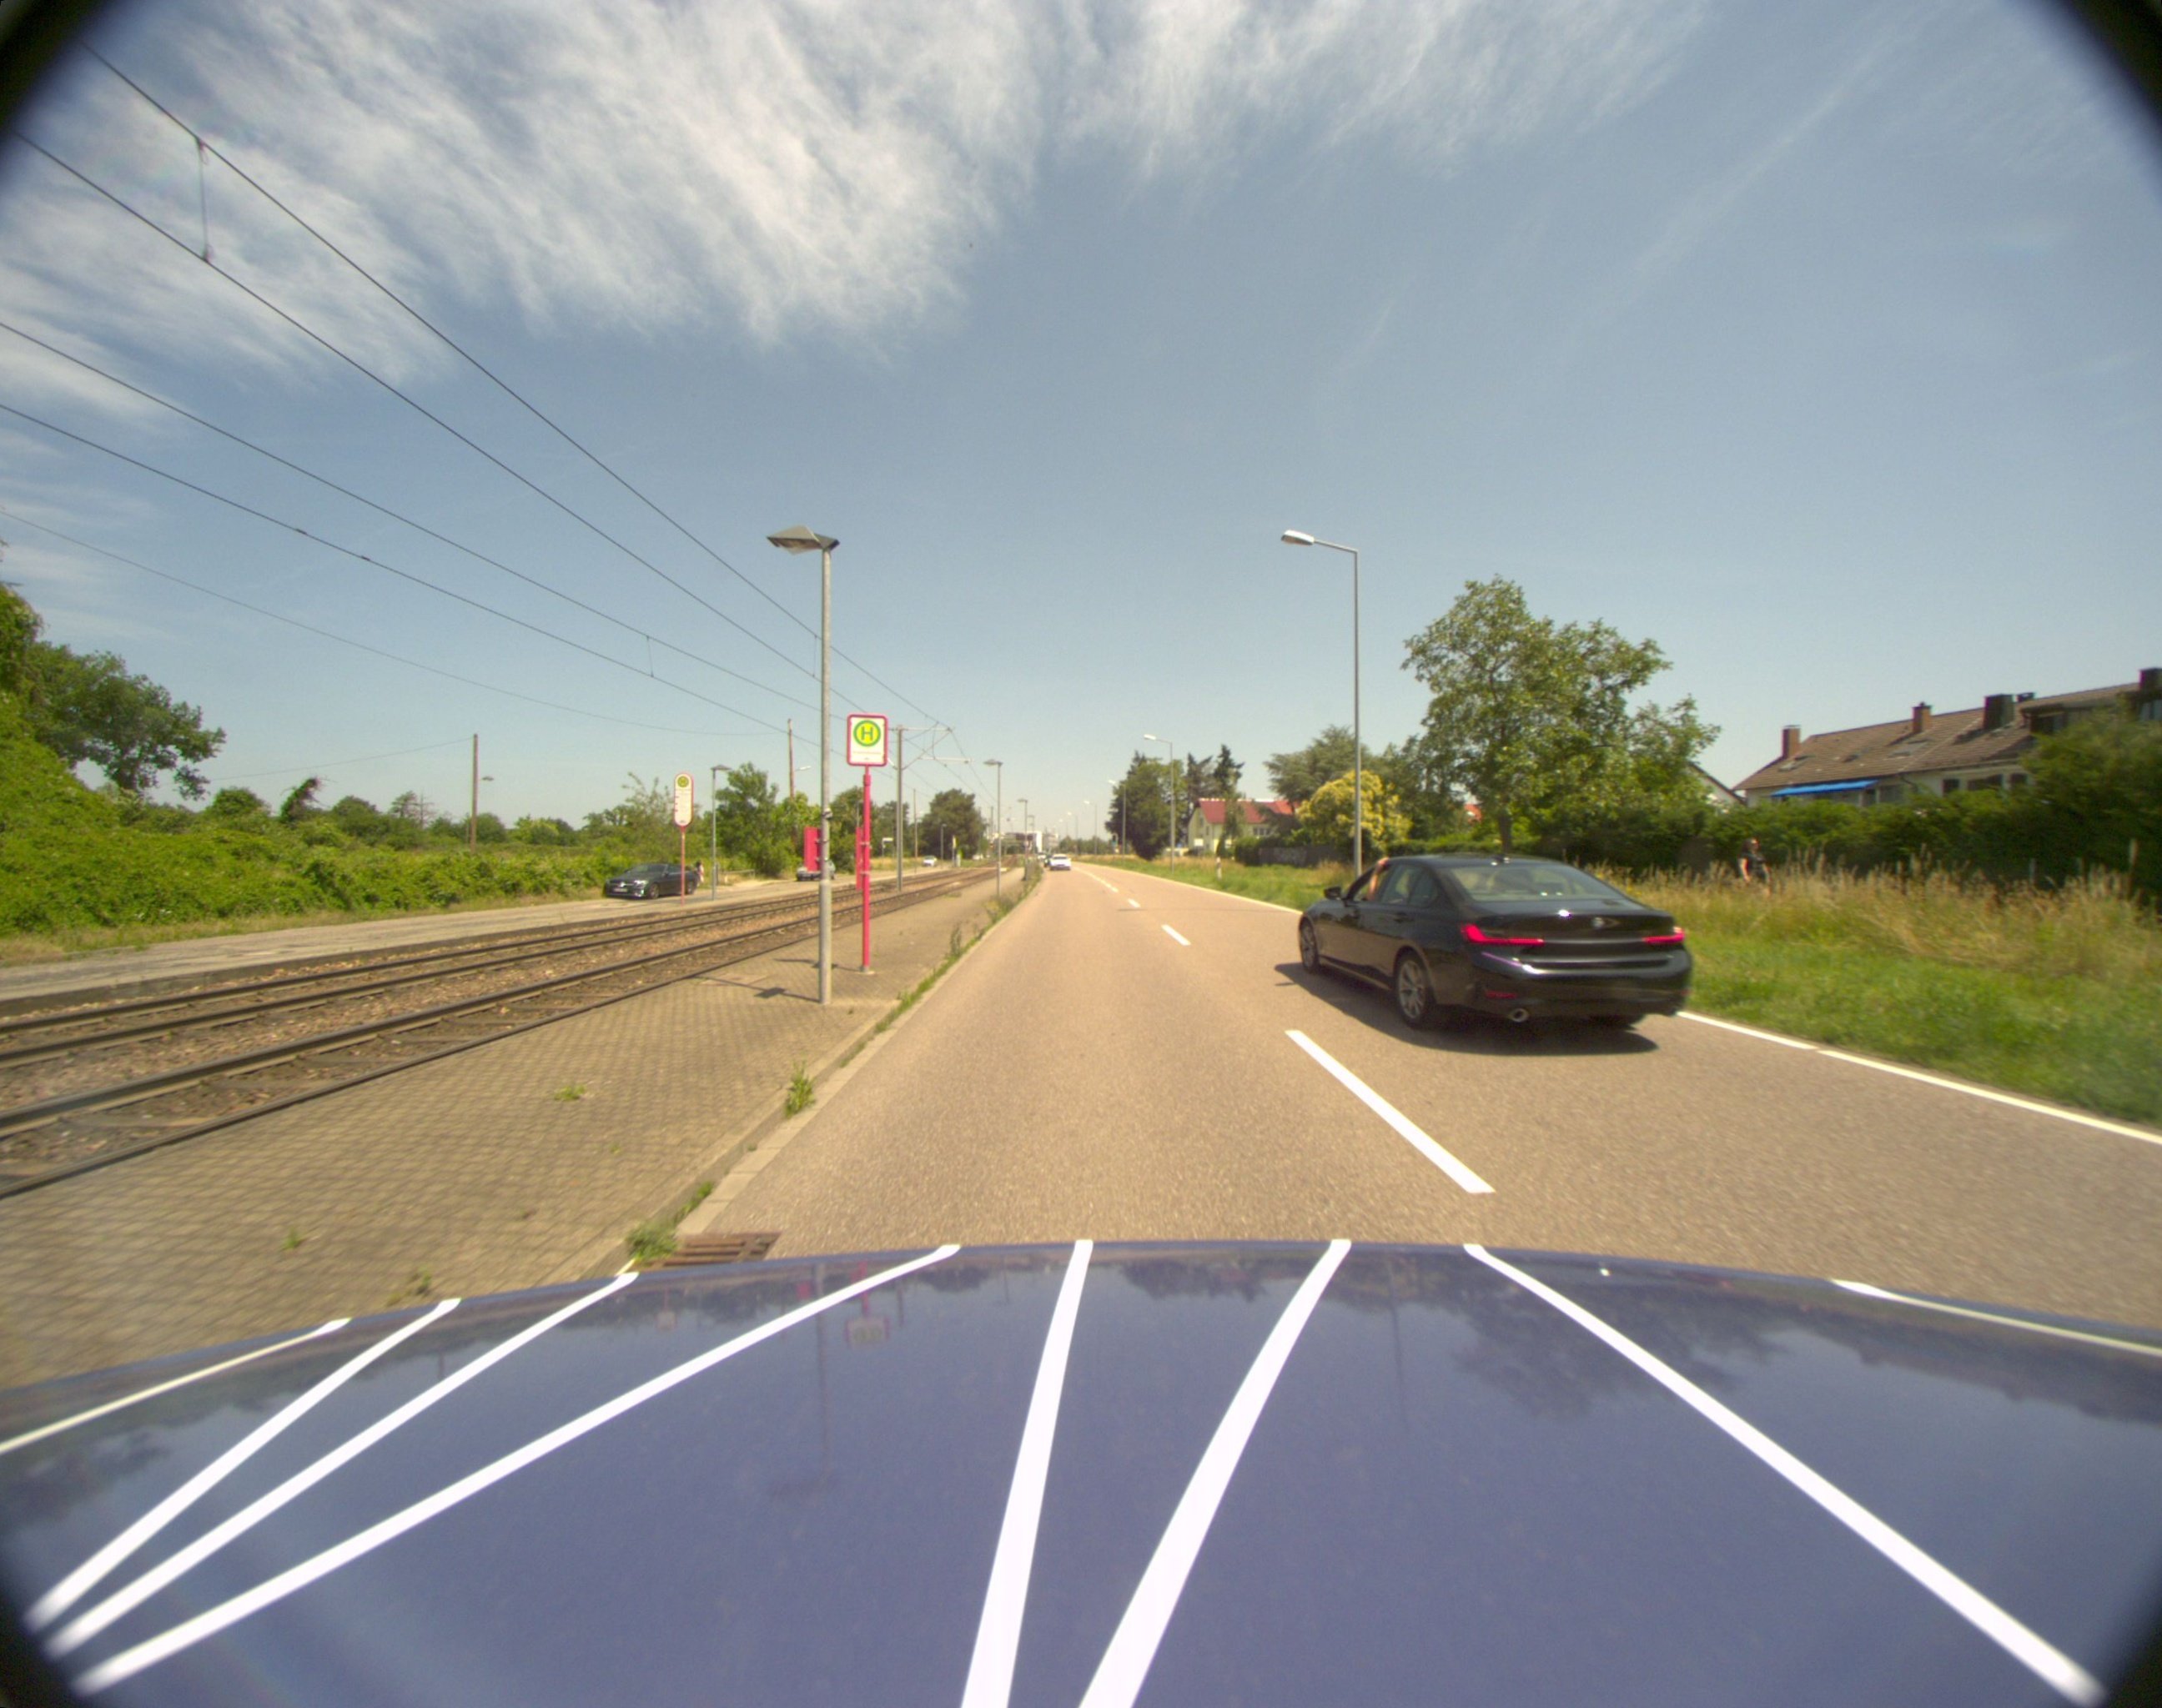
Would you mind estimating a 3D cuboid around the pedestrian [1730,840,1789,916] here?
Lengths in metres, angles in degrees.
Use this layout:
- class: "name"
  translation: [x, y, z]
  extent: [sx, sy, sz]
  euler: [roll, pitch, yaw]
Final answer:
- class: "pedestrian"
  translation: [13.631, 0.472, 15.280]
  extent: [0.610, 1.469, 0.633]
  euler: [-1, 1, 0]

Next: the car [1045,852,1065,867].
- class: "car"
  translation: [-2.894, 0.635, 86.106]
  extent: [1.998, 1.576, 3.999]
  euler: [-1, 1, 1]

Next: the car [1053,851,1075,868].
- class: "car"
  translation: [-1.569, 0.455, 70.174]
  extent: [1.856, 1.447, 3.706]
  euler: [-1, 1, 1]

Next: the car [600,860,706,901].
- class: "car"
  translation: [-17.409, 1.023, 31.223]
  extent: [1.624, 1.414, 4.871]
  euler: [-1, 1, -1]

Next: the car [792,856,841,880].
- class: "car"
  translation: [-17.298, 0.897, 49.916]
  extent: [1.944, 1.414, 3.999]
  euler: [-1, 1, -2]

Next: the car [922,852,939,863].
- class: "car"
  translation: [-20.874, 0.436, 105.406]
  extent: [1.717, 1.480, 3.999]
  euler: [-1, 1, -3]

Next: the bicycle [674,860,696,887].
- class: "bicycle"
  translation: [-19.834, 0.961, 38.049]
  extent: [0.705, 1.262, 1.676]
  euler: [-1, 1, -36]

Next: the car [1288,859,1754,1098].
- class: "car"
  translation: [3.429, 0.805, 7.166]
  extent: [1.710, 1.396, 4.707]
  euler: [-1, 1, 1]

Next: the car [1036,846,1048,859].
- class: "car"
  translation: [-6.640, -0.288, 129.825]
  extent: [1.938, 2.002, 3.999]
  euler: [-1, 1, -1]
